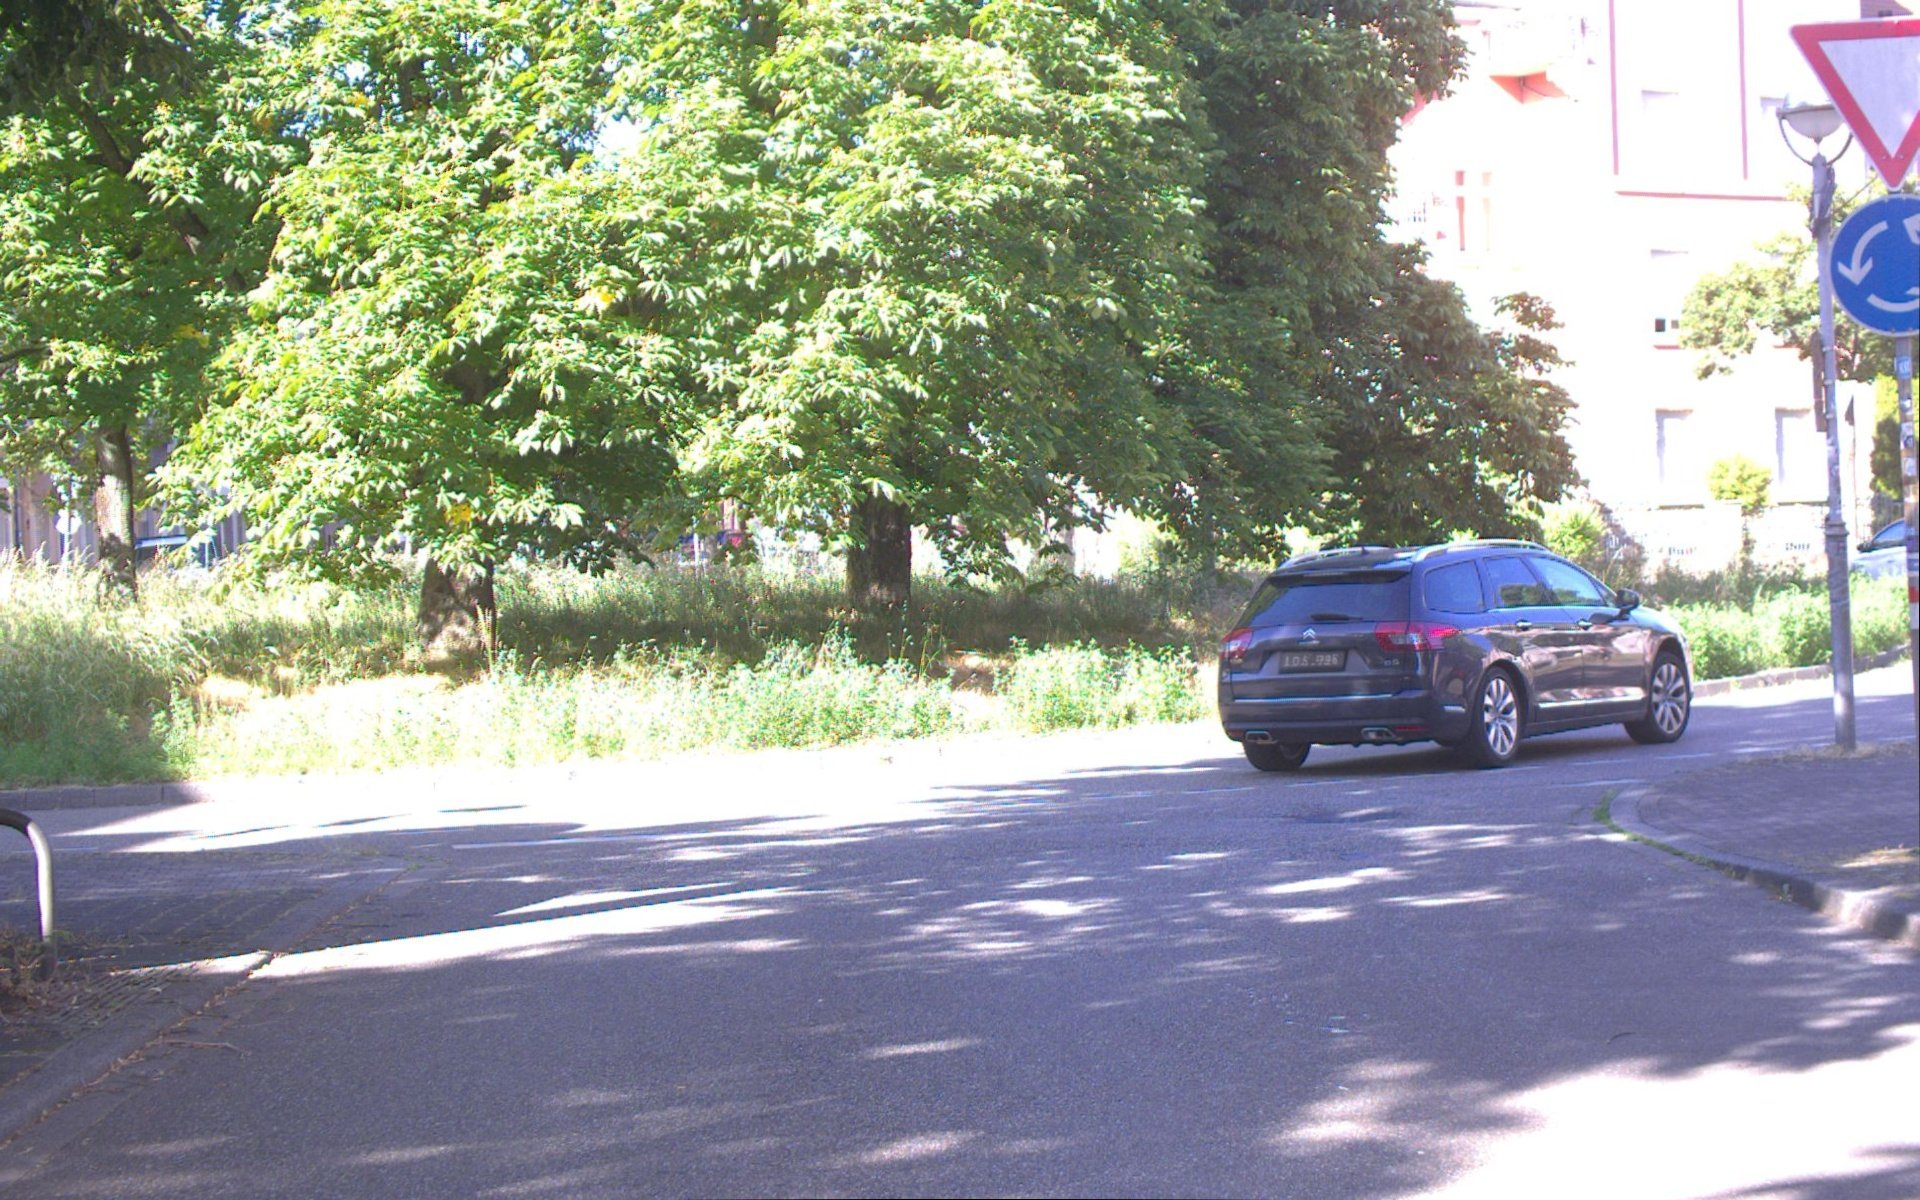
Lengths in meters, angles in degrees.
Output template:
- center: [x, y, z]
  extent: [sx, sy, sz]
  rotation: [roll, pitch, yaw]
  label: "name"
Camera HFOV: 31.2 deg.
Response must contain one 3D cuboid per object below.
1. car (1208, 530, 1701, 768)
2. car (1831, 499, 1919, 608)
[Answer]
- center: [3.491, 0.289, 23.640]
  extent: [1.717, 1.478, 4.137]
  rotation: [-2, 0, 33]
  label: "car"
- center: [14.418, -0.685, 50.102]
  extent: [1.714, 1.558, 3.772]
  rotation: [-2, 0, -14]
  label: "car"
